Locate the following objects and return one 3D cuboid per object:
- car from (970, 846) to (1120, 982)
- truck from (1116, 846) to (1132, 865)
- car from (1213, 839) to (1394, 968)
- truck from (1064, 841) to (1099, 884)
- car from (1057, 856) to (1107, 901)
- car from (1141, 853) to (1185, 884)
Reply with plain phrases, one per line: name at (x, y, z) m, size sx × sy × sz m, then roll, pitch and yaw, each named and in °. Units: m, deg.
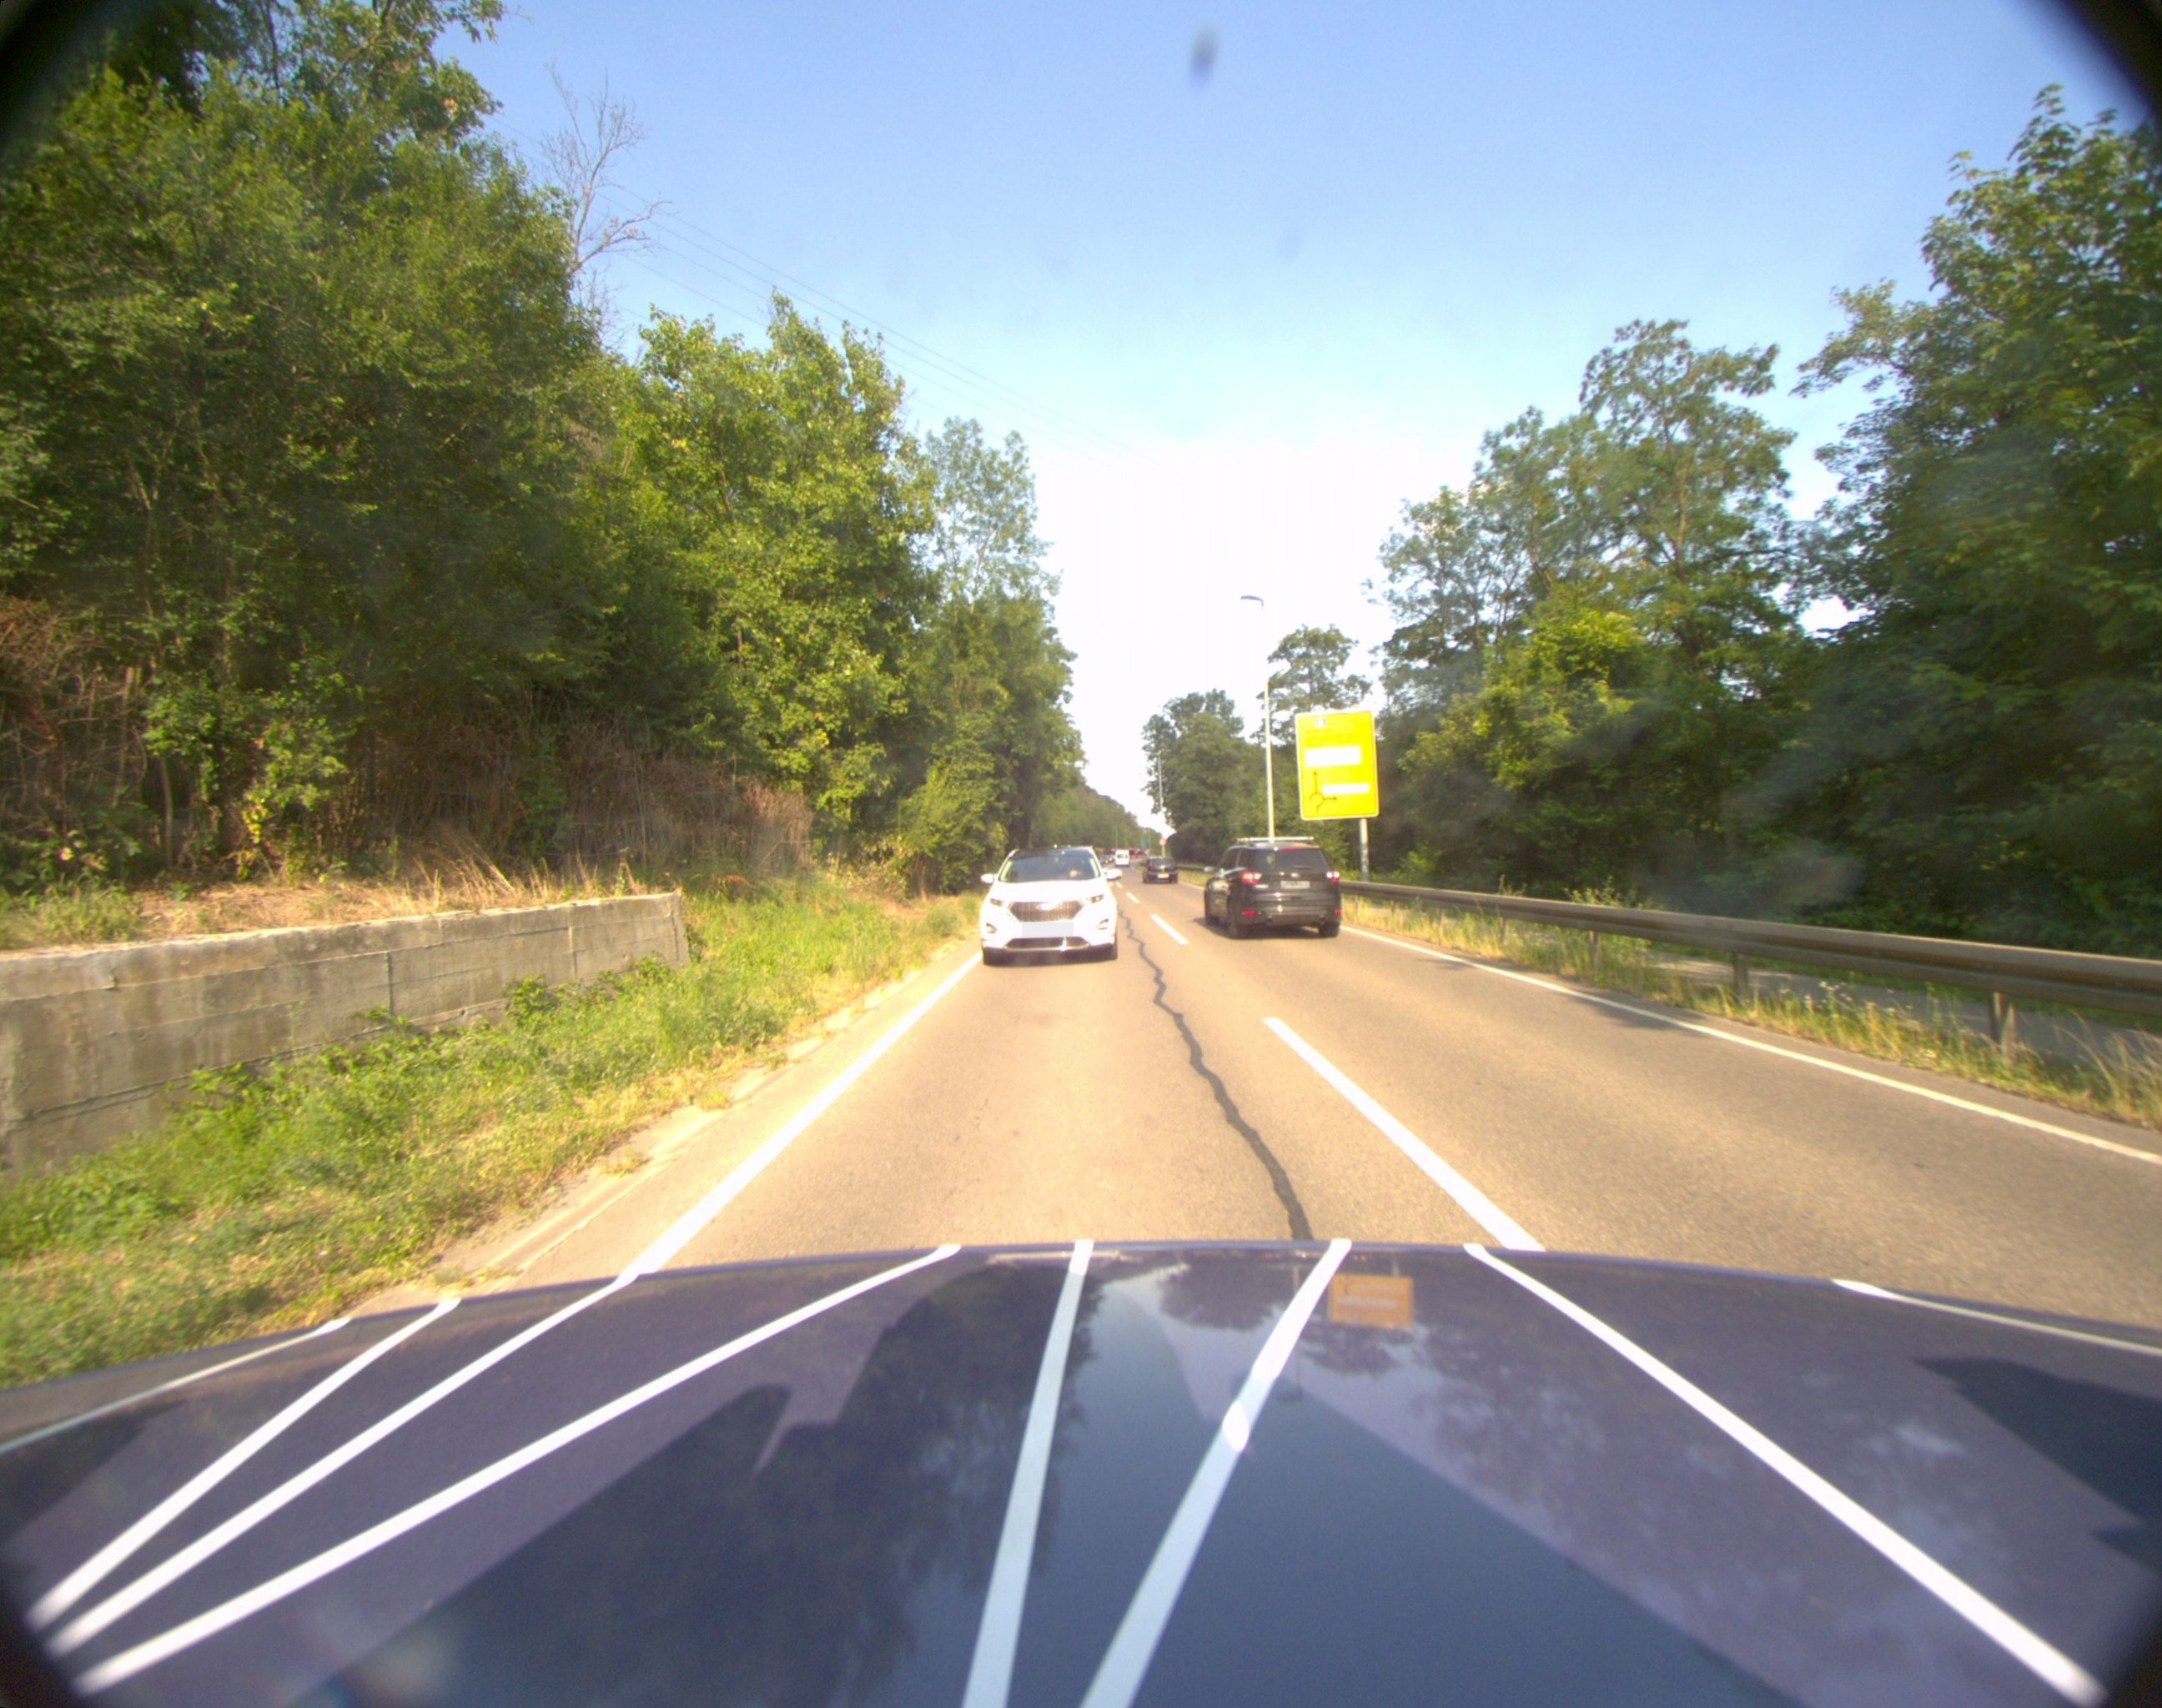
car at (-0.443, 0.790, 12.043) m, size 1.894 × 1.691 × 4.136 m, roll -3°, pitch 0°, yaw 1°
truck at (5.938, 0.155, 104.769) m, size 2.062 × 2.371 × 5.874 m, roll -2°, pitch 1°, yaw 4°
car at (3.364, 0.663, 12.355) m, size 1.752 × 1.707 × 4.221 m, roll -1°, pitch 0°, yaw 1°
truck at (0.064, 0.479, 45.927) m, size 1.894 × 2.334 × 5.273 m, roll -2°, pitch 0°, yaw 1°
car at (0.062, 0.868, 28.473) m, size 1.704 × 1.477 × 4.136 m, roll -2°, pitch 0°, yaw 1°
car at (4.159, 0.717, 38.958) m, size 1.686 × 1.434 × 3.999 m, roll -2°, pitch 0°, yaw -2°
